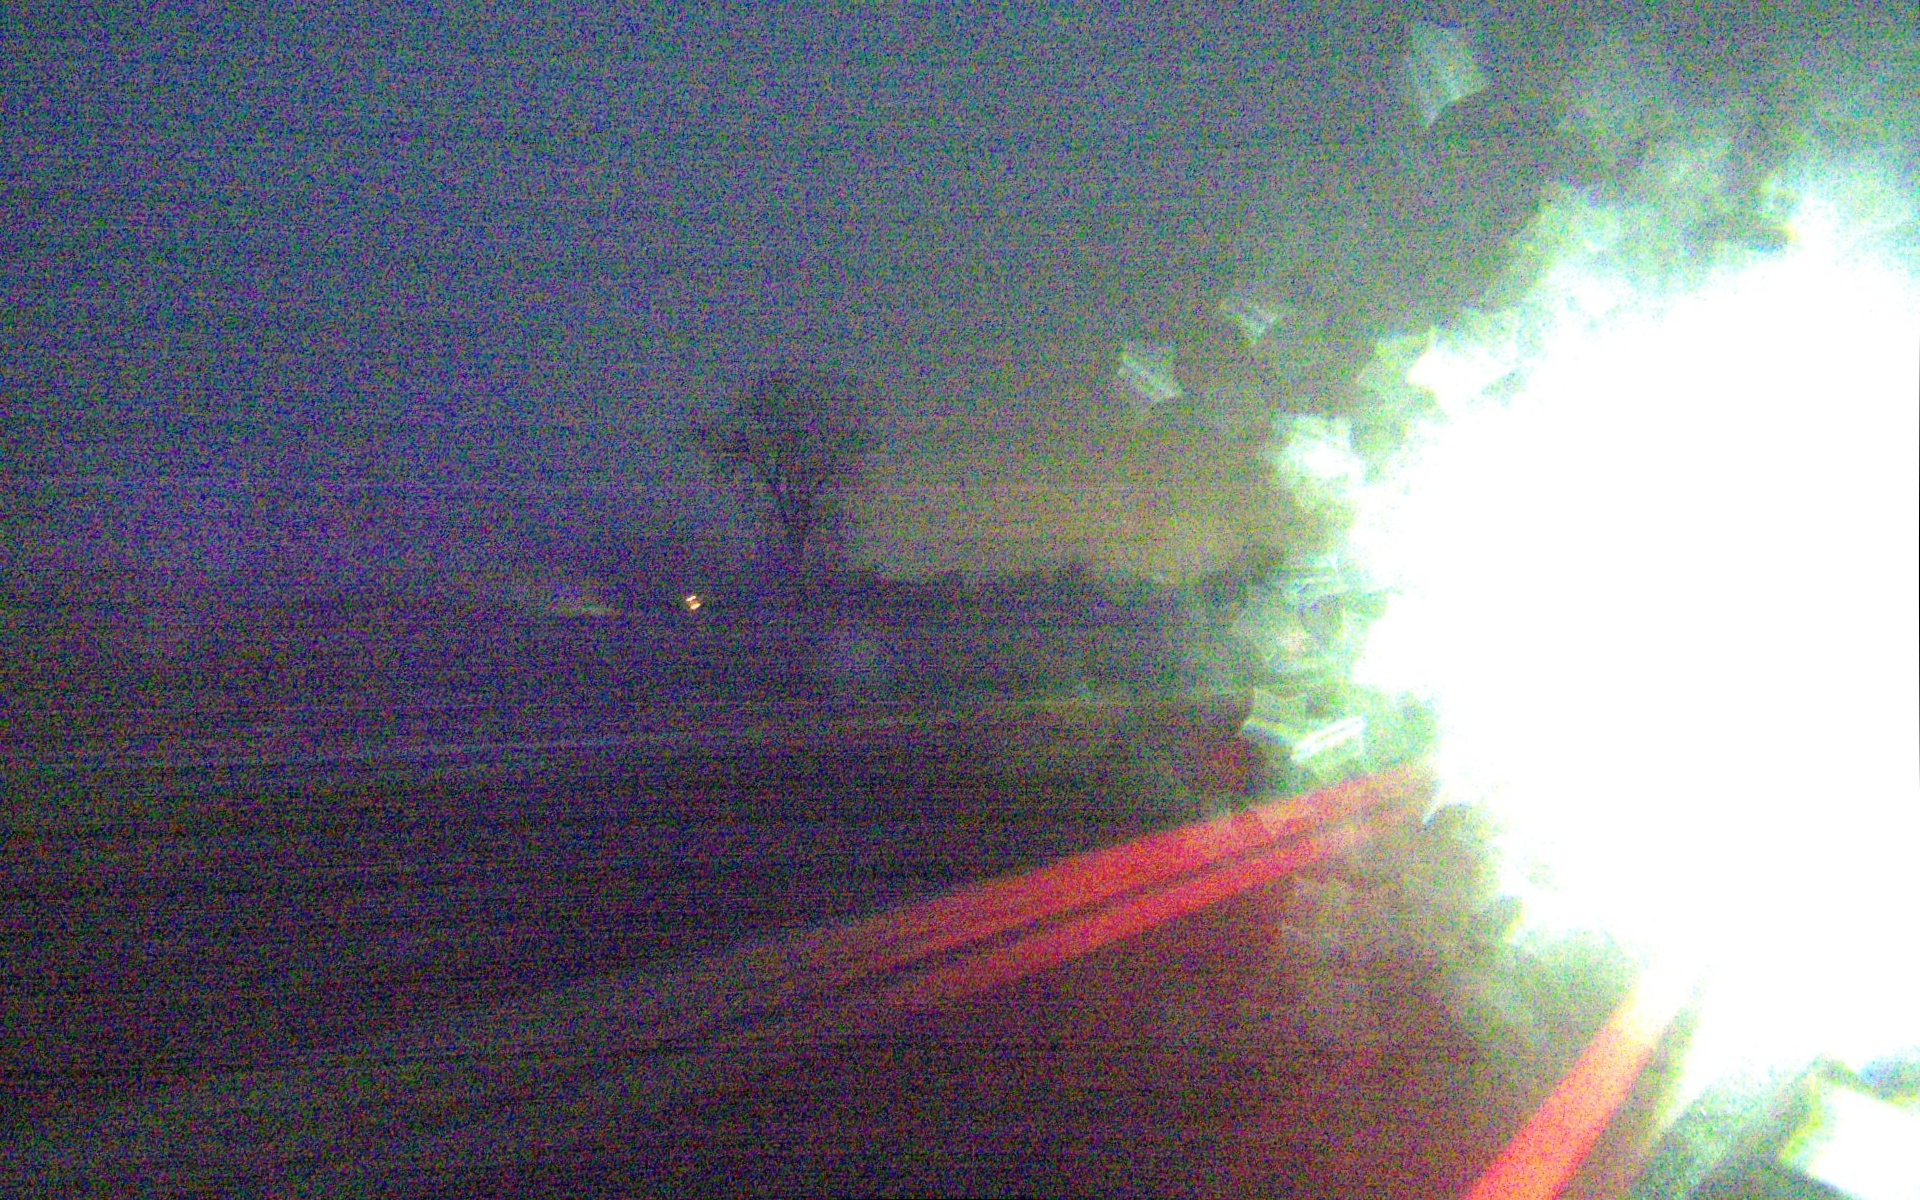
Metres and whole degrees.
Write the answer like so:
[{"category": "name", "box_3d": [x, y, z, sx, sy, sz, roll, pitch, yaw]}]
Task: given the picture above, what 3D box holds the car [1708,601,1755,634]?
[{"category": "car", "box_3d": [43.134, 0.987, 56.670, 1.988, 1.770, 4.045, -2, -2, 37]}]
